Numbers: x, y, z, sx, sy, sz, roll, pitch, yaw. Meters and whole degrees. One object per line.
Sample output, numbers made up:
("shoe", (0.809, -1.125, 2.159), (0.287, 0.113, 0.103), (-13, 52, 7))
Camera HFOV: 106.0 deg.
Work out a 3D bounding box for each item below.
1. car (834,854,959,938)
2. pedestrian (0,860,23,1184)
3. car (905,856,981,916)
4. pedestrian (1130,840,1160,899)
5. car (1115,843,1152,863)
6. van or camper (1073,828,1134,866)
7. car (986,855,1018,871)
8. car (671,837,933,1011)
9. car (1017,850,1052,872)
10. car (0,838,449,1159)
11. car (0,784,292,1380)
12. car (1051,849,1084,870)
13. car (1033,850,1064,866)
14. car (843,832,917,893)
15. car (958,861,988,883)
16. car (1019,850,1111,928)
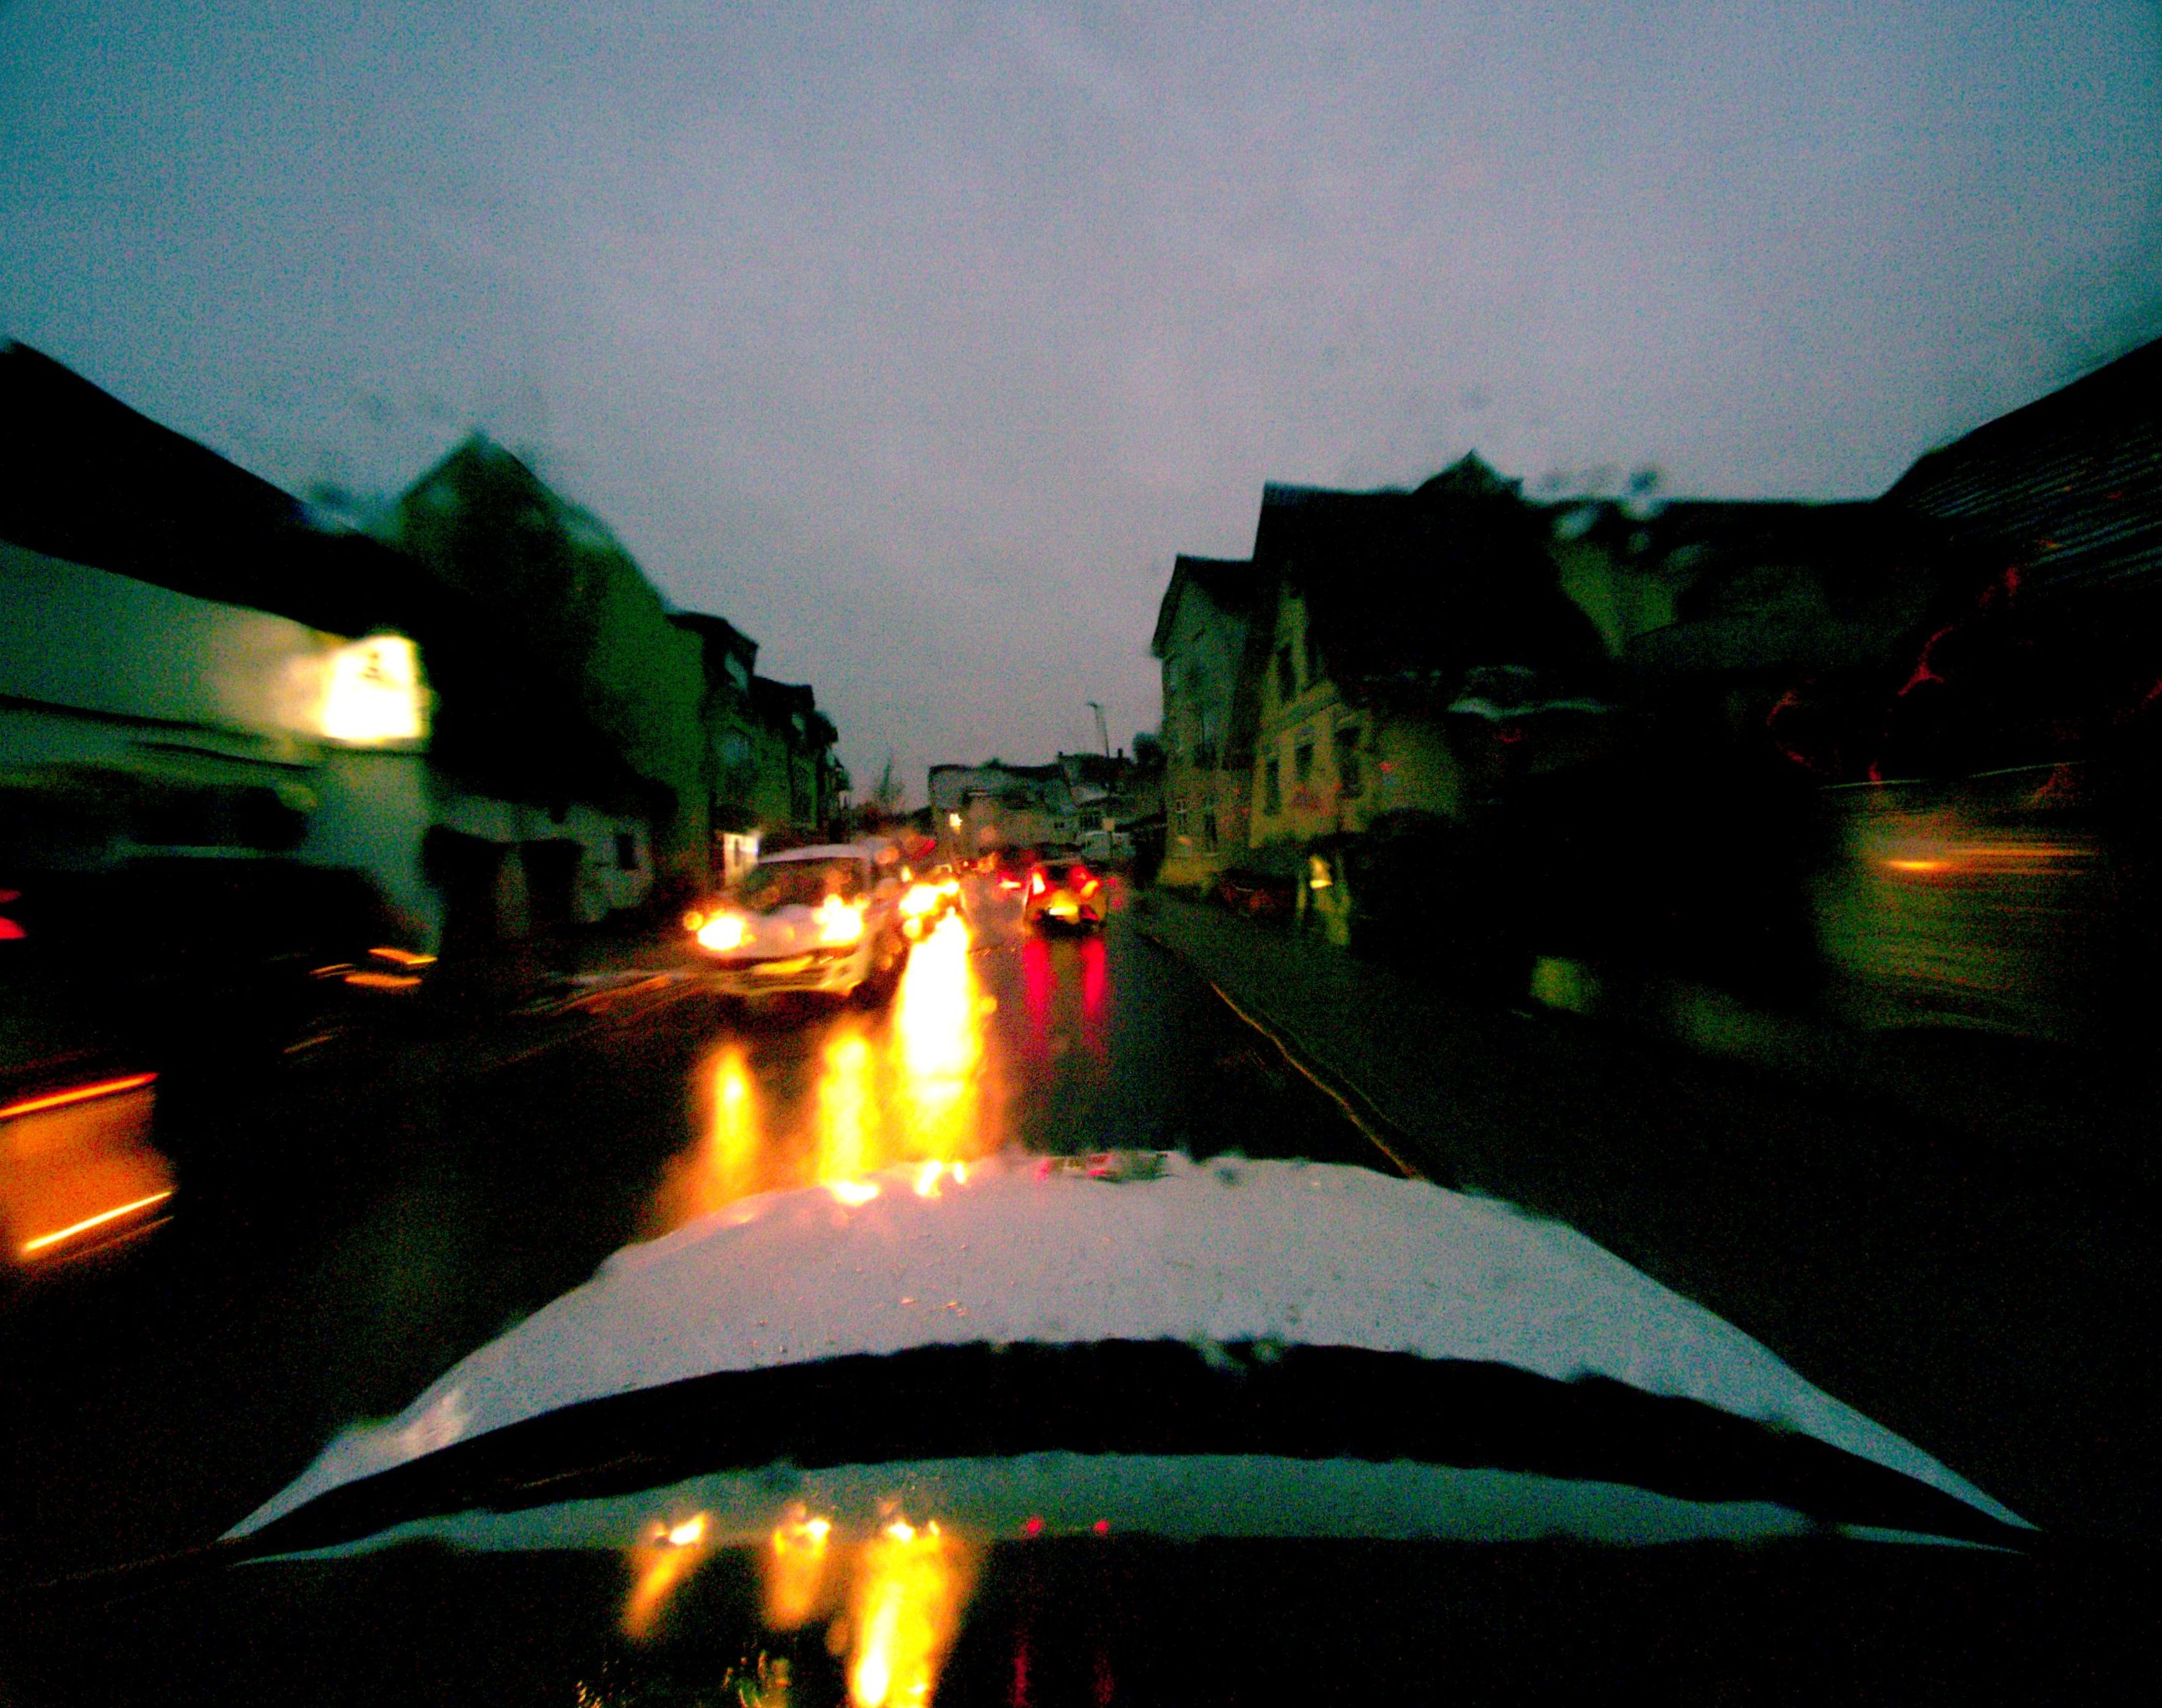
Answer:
("car", (-3.883, 0.843, 17.893), (1.853, 1.556, 4.254), (-2, -1, -2))
("pedestrian", (-5.567, 0.832, 3.763), (0.527, 1.585, 0.576), (-2, 1, -2))
("car", (-4.143, 0.872, 24.269), (1.994, 1.555, 4.241), (-2, 0, -11))
("pedestrian", (1.938, 0.455, 24.697), (0.743, 1.729, 0.872), (-2, 1, -3))
("car", (4.558, -0.078, 71.555), (1.793, 1.553, 3.976), (-7, 2, -18))
("van or camper", (1.862, -0.561, 71.759), (2.662, 3.047, 6.683), (-5, 1, -22))
("car", (-7.724, 0.887, 79.321), (1.897, 1.462, 3.601), (-2, 0, -27))
("car", (-3.198, 0.659, 10.399), (1.947, 1.546, 4.411), (-3, 3, -3))
("car", (-4.065, 0.591, 70.559), (1.998, 1.765, 4.326), (-3, 1, -16))
("car", (-6.704, 0.782, 5.065), (1.874, 1.710, 4.711), (-1, 0, 0))
("car", (-4.043, 0.673, 0.684), (1.988, 1.705, 4.964), (1, 1, -2))
("car", (-1.214, 0.484, 70.946), (1.997, 1.610, 4.154), (-4, -1, -14))
("car", (-3.353, 0.398, 82.707), (1.828, 1.462, 4.520), (-3, 1, -19))
("car", (-9.259, 0.414, 38.125), (2.483, 2.560, 6.745), (0, -1, -7))
("car", (-8.338, 1.380, 62.795), (1.995, 1.588, 3.983), (0, 0, -12))
("car", (-0.395, 0.707, 18.226), (1.810, 1.533, 3.996), (-1, 0, -3))
